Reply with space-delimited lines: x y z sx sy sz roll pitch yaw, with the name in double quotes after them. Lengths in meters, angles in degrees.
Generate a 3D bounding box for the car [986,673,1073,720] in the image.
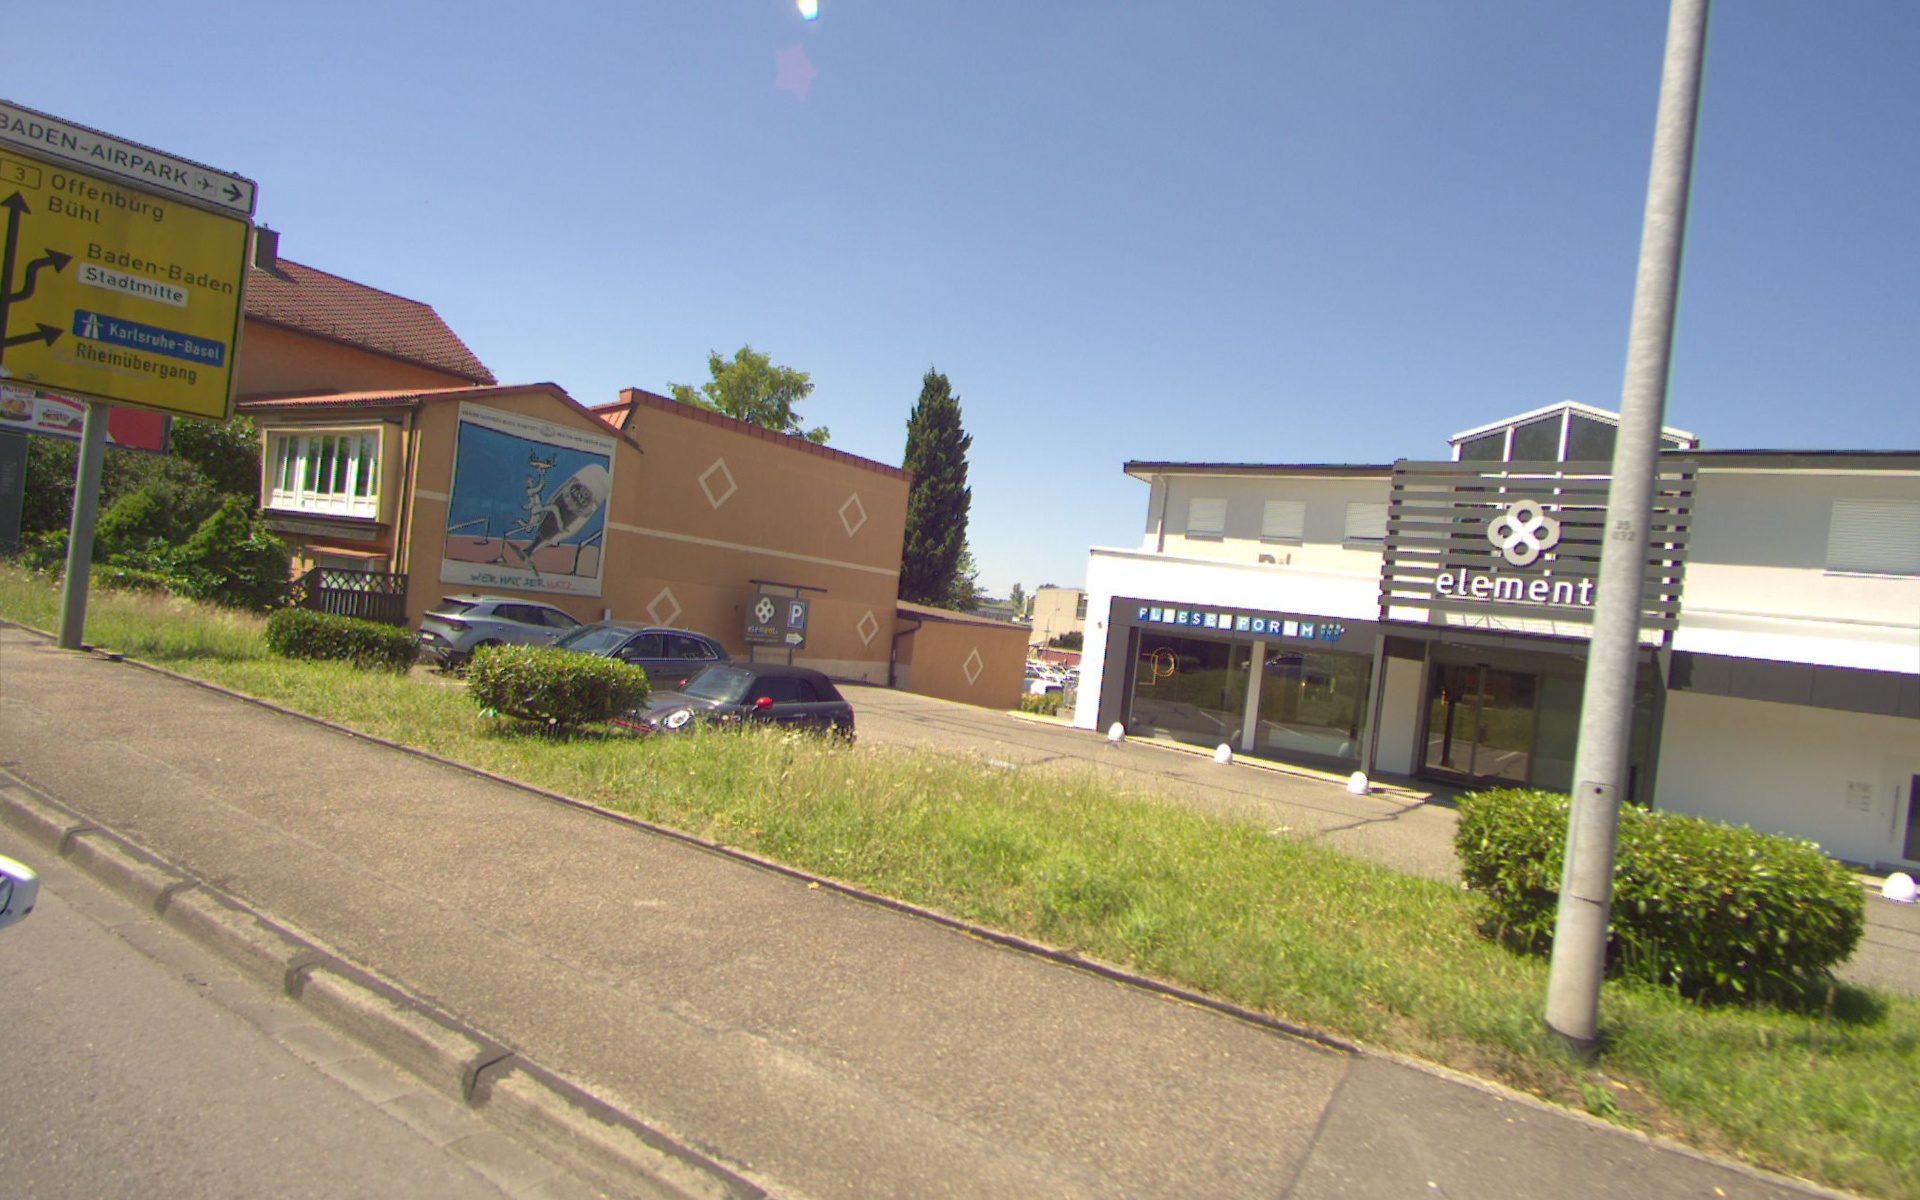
3.246 4.548 47.400 3.518 1.642 1.755 7 -1 32 "car"

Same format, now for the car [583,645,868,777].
-3.222 1.586 14.397 1.672 1.433 3.623 7 -2 37 "car"

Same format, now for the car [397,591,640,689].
-9.305 0.908 21.494 1.862 1.618 4.258 7 -1 38 "car"

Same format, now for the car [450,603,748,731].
-5.812 1.177 16.736 1.859 1.666 4.278 7 -2 33 "car"
